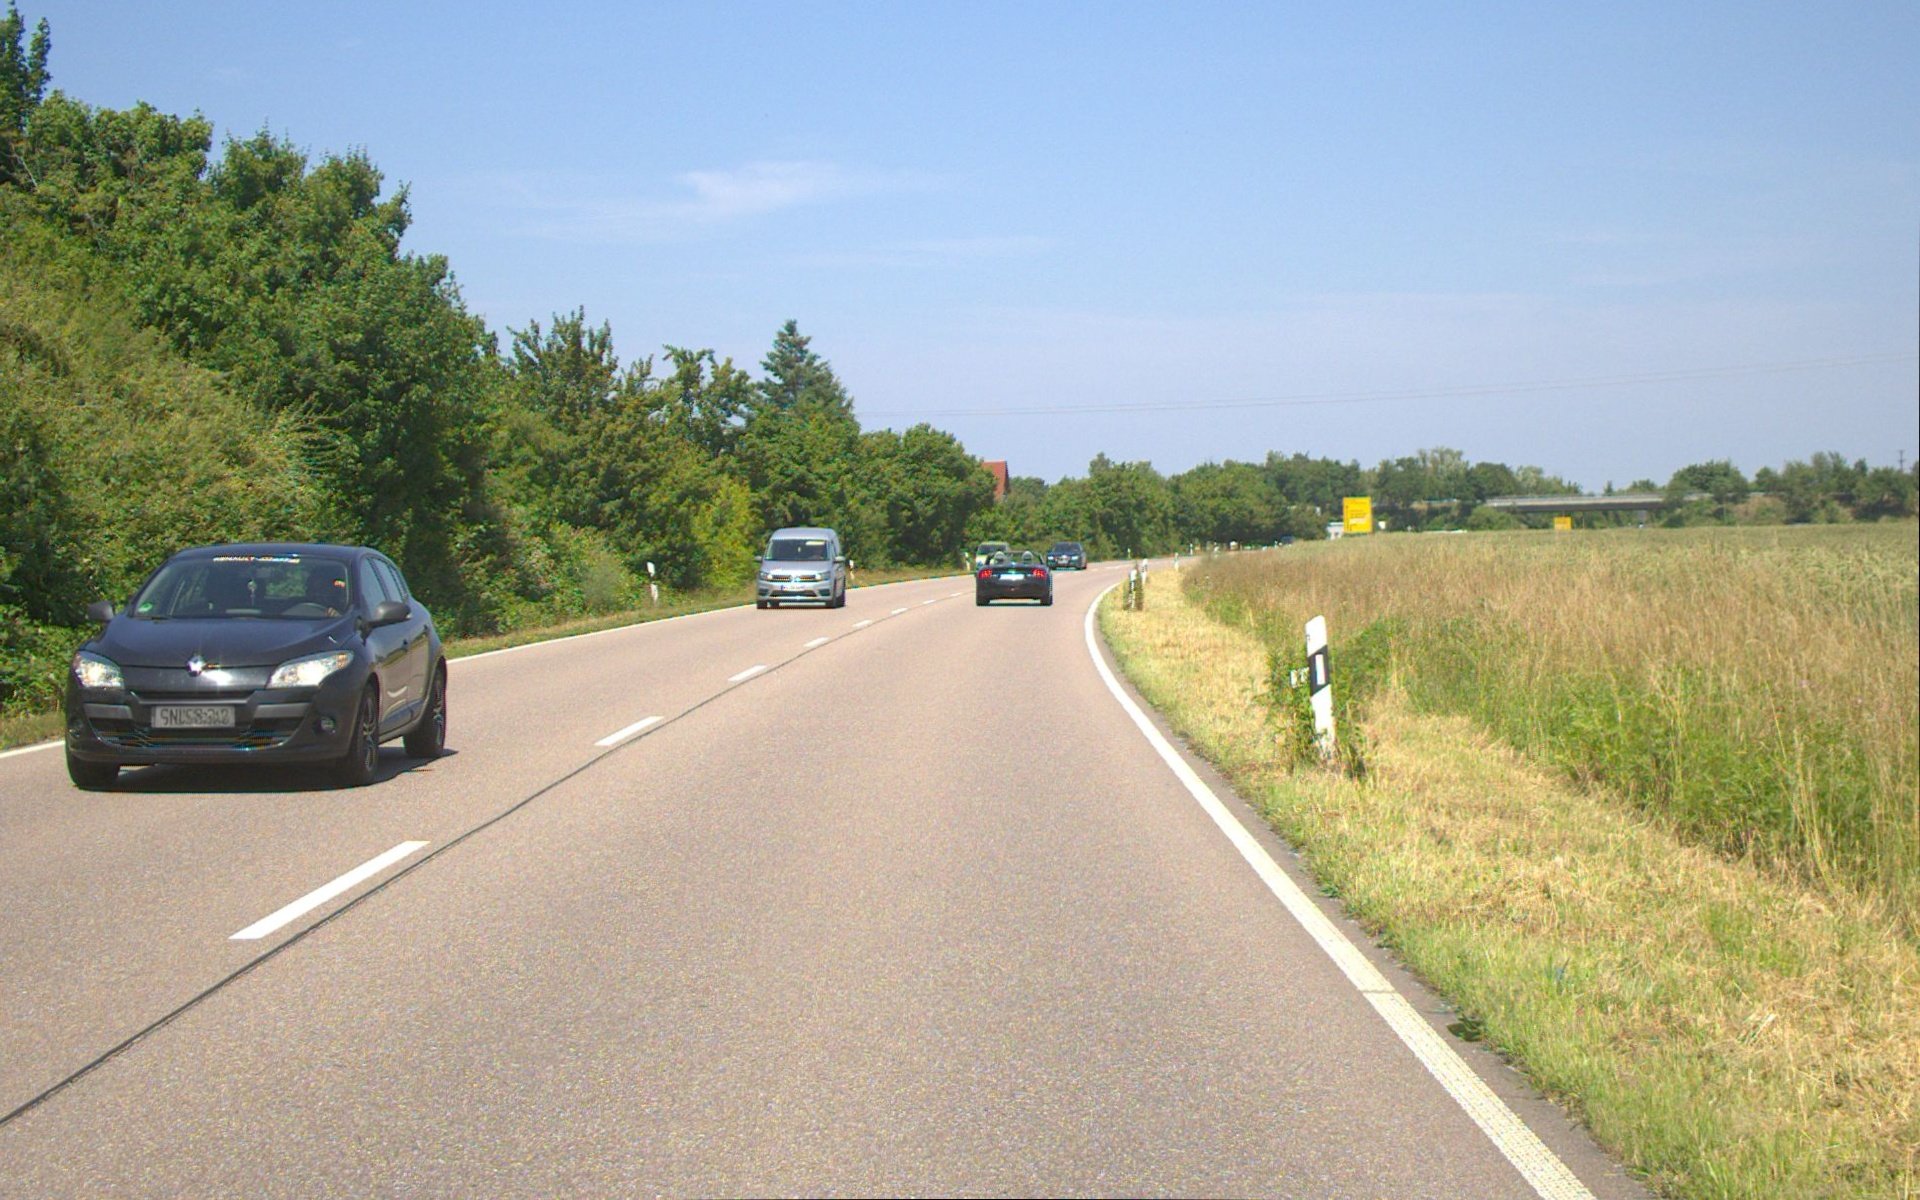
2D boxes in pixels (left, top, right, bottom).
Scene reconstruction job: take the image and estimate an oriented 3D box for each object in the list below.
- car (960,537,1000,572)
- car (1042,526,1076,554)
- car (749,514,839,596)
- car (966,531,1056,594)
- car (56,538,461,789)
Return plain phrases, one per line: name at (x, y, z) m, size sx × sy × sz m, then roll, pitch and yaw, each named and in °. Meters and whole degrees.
car at (0.875, -1.973, 149.025) m, size 1.497 × 1.490 × 3.832 m, roll 0°, pitch 1°, yaw 4°
car at (5.260, -3.194, 182.624) m, size 1.801 × 1.445 × 4.533 m, roll 0°, pitch 1°, yaw 2°
car at (-3.763, -1.039, 78.685) m, size 1.763 × 1.813 × 4.804 m, roll 0°, pitch 1°, yaw 1°
car at (1.230, -0.905, 81.621) m, size 1.814 × 1.436 × 3.999 m, roll 1°, pitch 1°, yaw 5°
car at (-4.320, 0.327, 21.740) m, size 1.707 × 1.424 × 4.000 m, roll 1°, pitch 1°, yaw 0°
